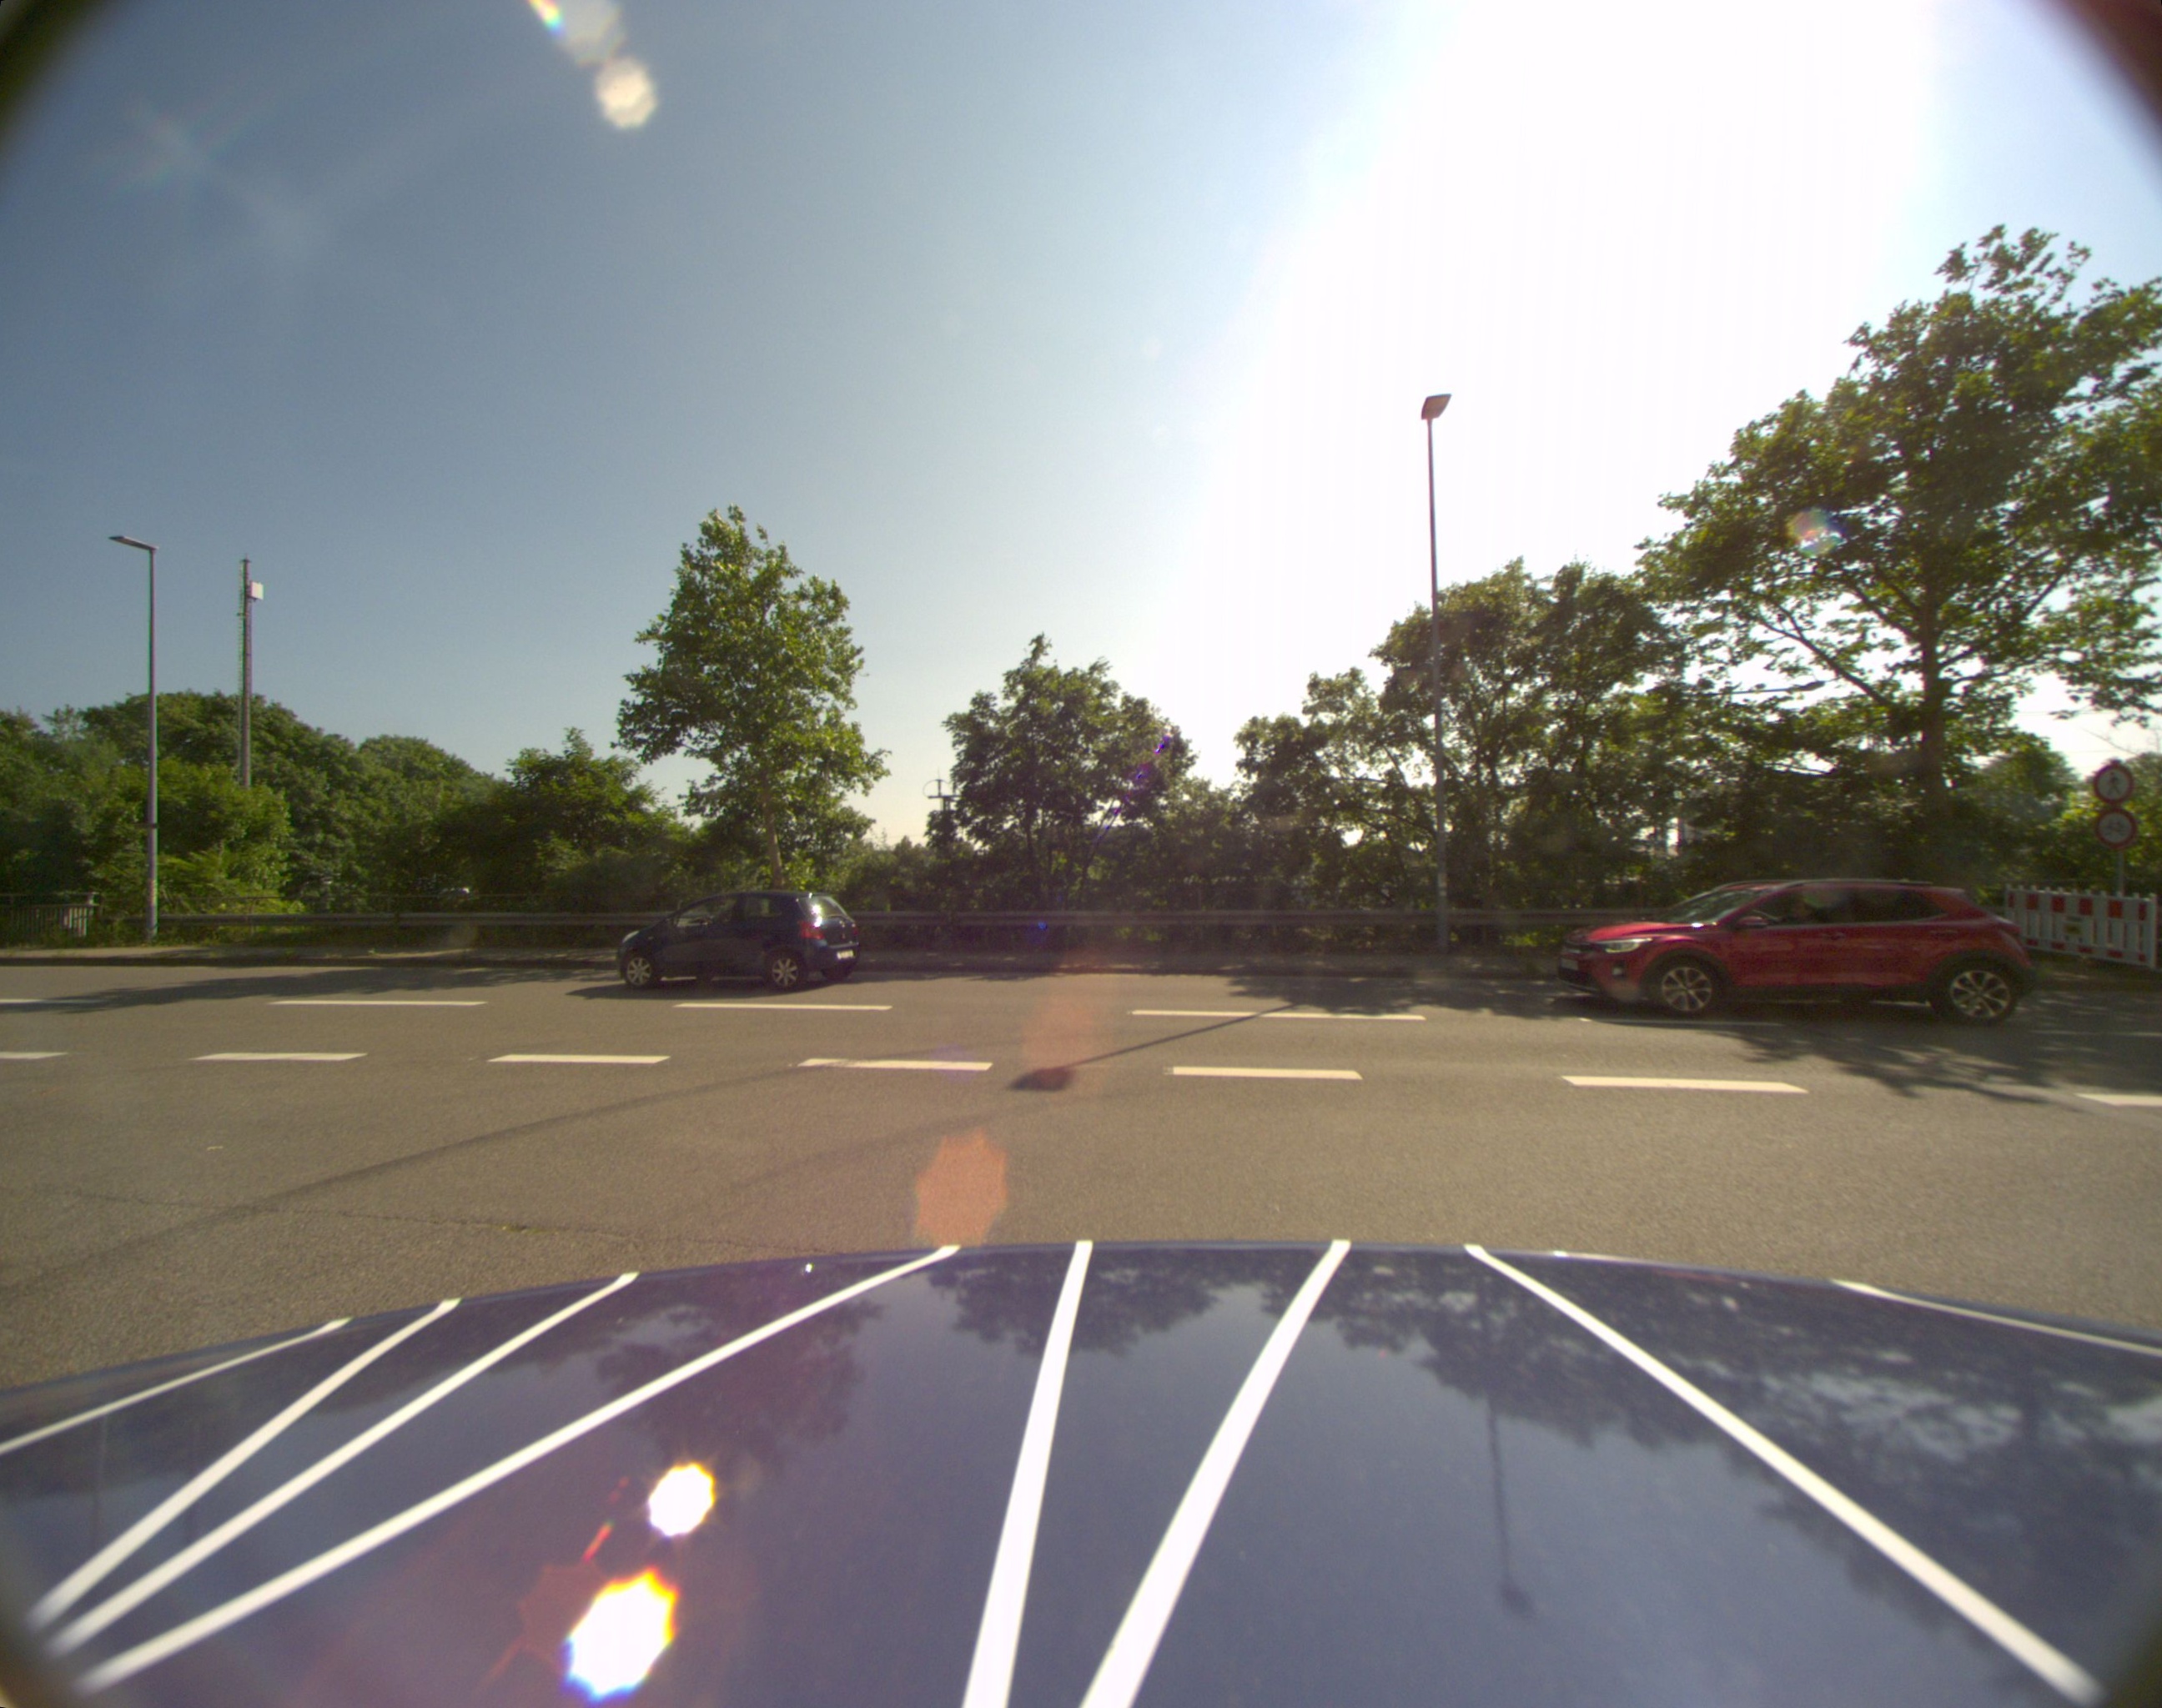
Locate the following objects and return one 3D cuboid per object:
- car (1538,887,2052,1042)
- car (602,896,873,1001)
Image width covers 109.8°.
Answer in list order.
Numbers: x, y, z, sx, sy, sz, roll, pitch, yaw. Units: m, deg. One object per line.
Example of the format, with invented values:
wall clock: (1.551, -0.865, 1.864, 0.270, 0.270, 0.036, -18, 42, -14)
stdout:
car: (7.858, 1.174, 8.828, 3.958, 1.510, 1.805, -1, -2, 12)
car: (-5.399, 1.443, 12.147, 3.644, 1.491, 1.648, -1, -2, 10)
